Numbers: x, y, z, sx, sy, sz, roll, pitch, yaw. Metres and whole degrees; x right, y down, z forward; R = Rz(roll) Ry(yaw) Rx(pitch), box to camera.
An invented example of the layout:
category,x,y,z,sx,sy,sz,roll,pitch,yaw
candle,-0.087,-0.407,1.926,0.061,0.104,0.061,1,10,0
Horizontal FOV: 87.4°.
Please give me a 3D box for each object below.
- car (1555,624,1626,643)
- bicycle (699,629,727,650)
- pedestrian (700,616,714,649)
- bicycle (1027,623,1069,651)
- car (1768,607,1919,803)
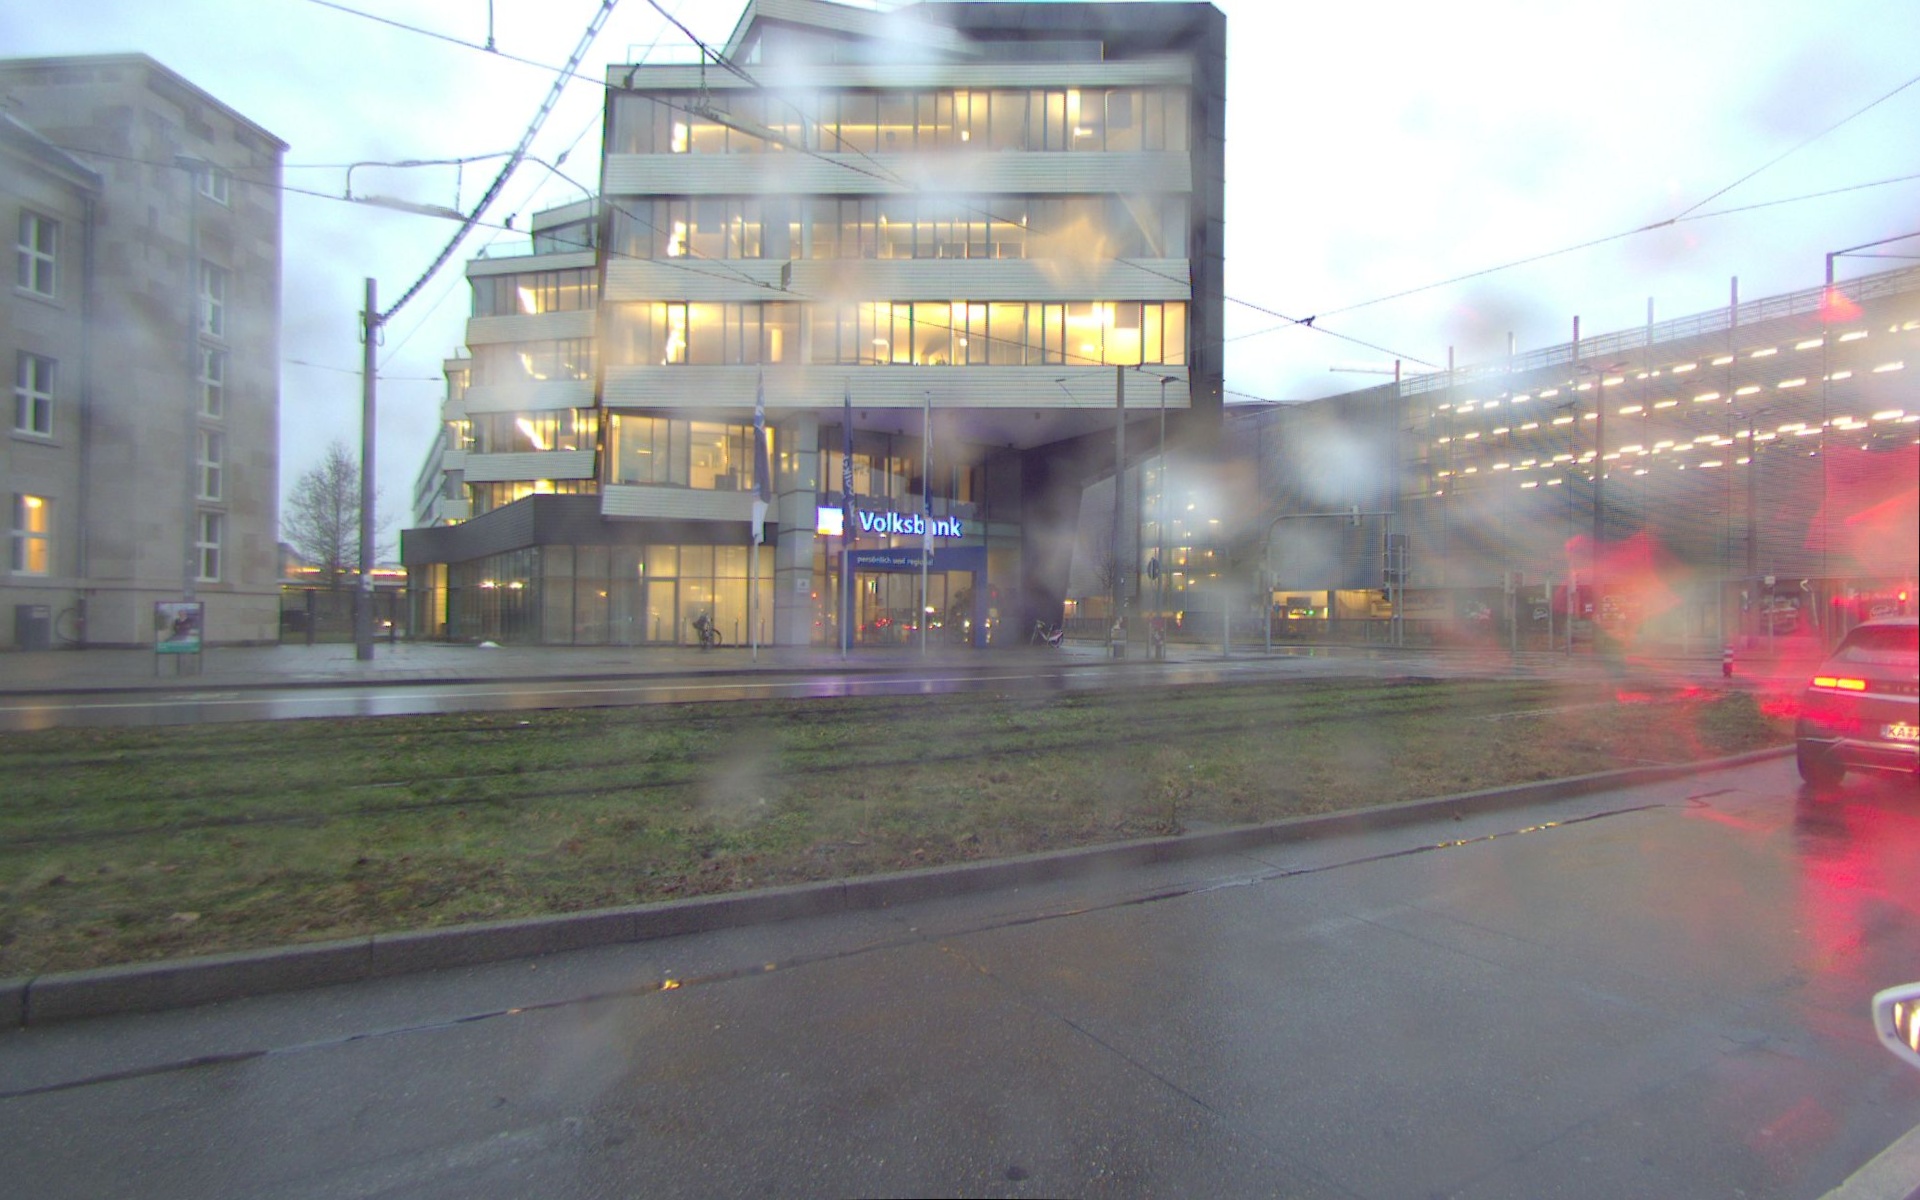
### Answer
category,x,y,z,sx,sy,sz,roll,pitch,yaw
car,42.198,2.239,67.288,1.664,1.181,3.735,1,-1,-34
bicycle,-8.615,1.373,35.066,0.896,0.724,0.483,1,-1,-10
pedestrian,-8.637,1.114,34.319,0.380,1.103,0.325,0,-1,5
bicycle,3.529,1.465,40.110,1.588,1.105,0.553,1,-1,-23
car,9.370,0.899,9.418,3.959,1.595,1.742,1,-1,-34
